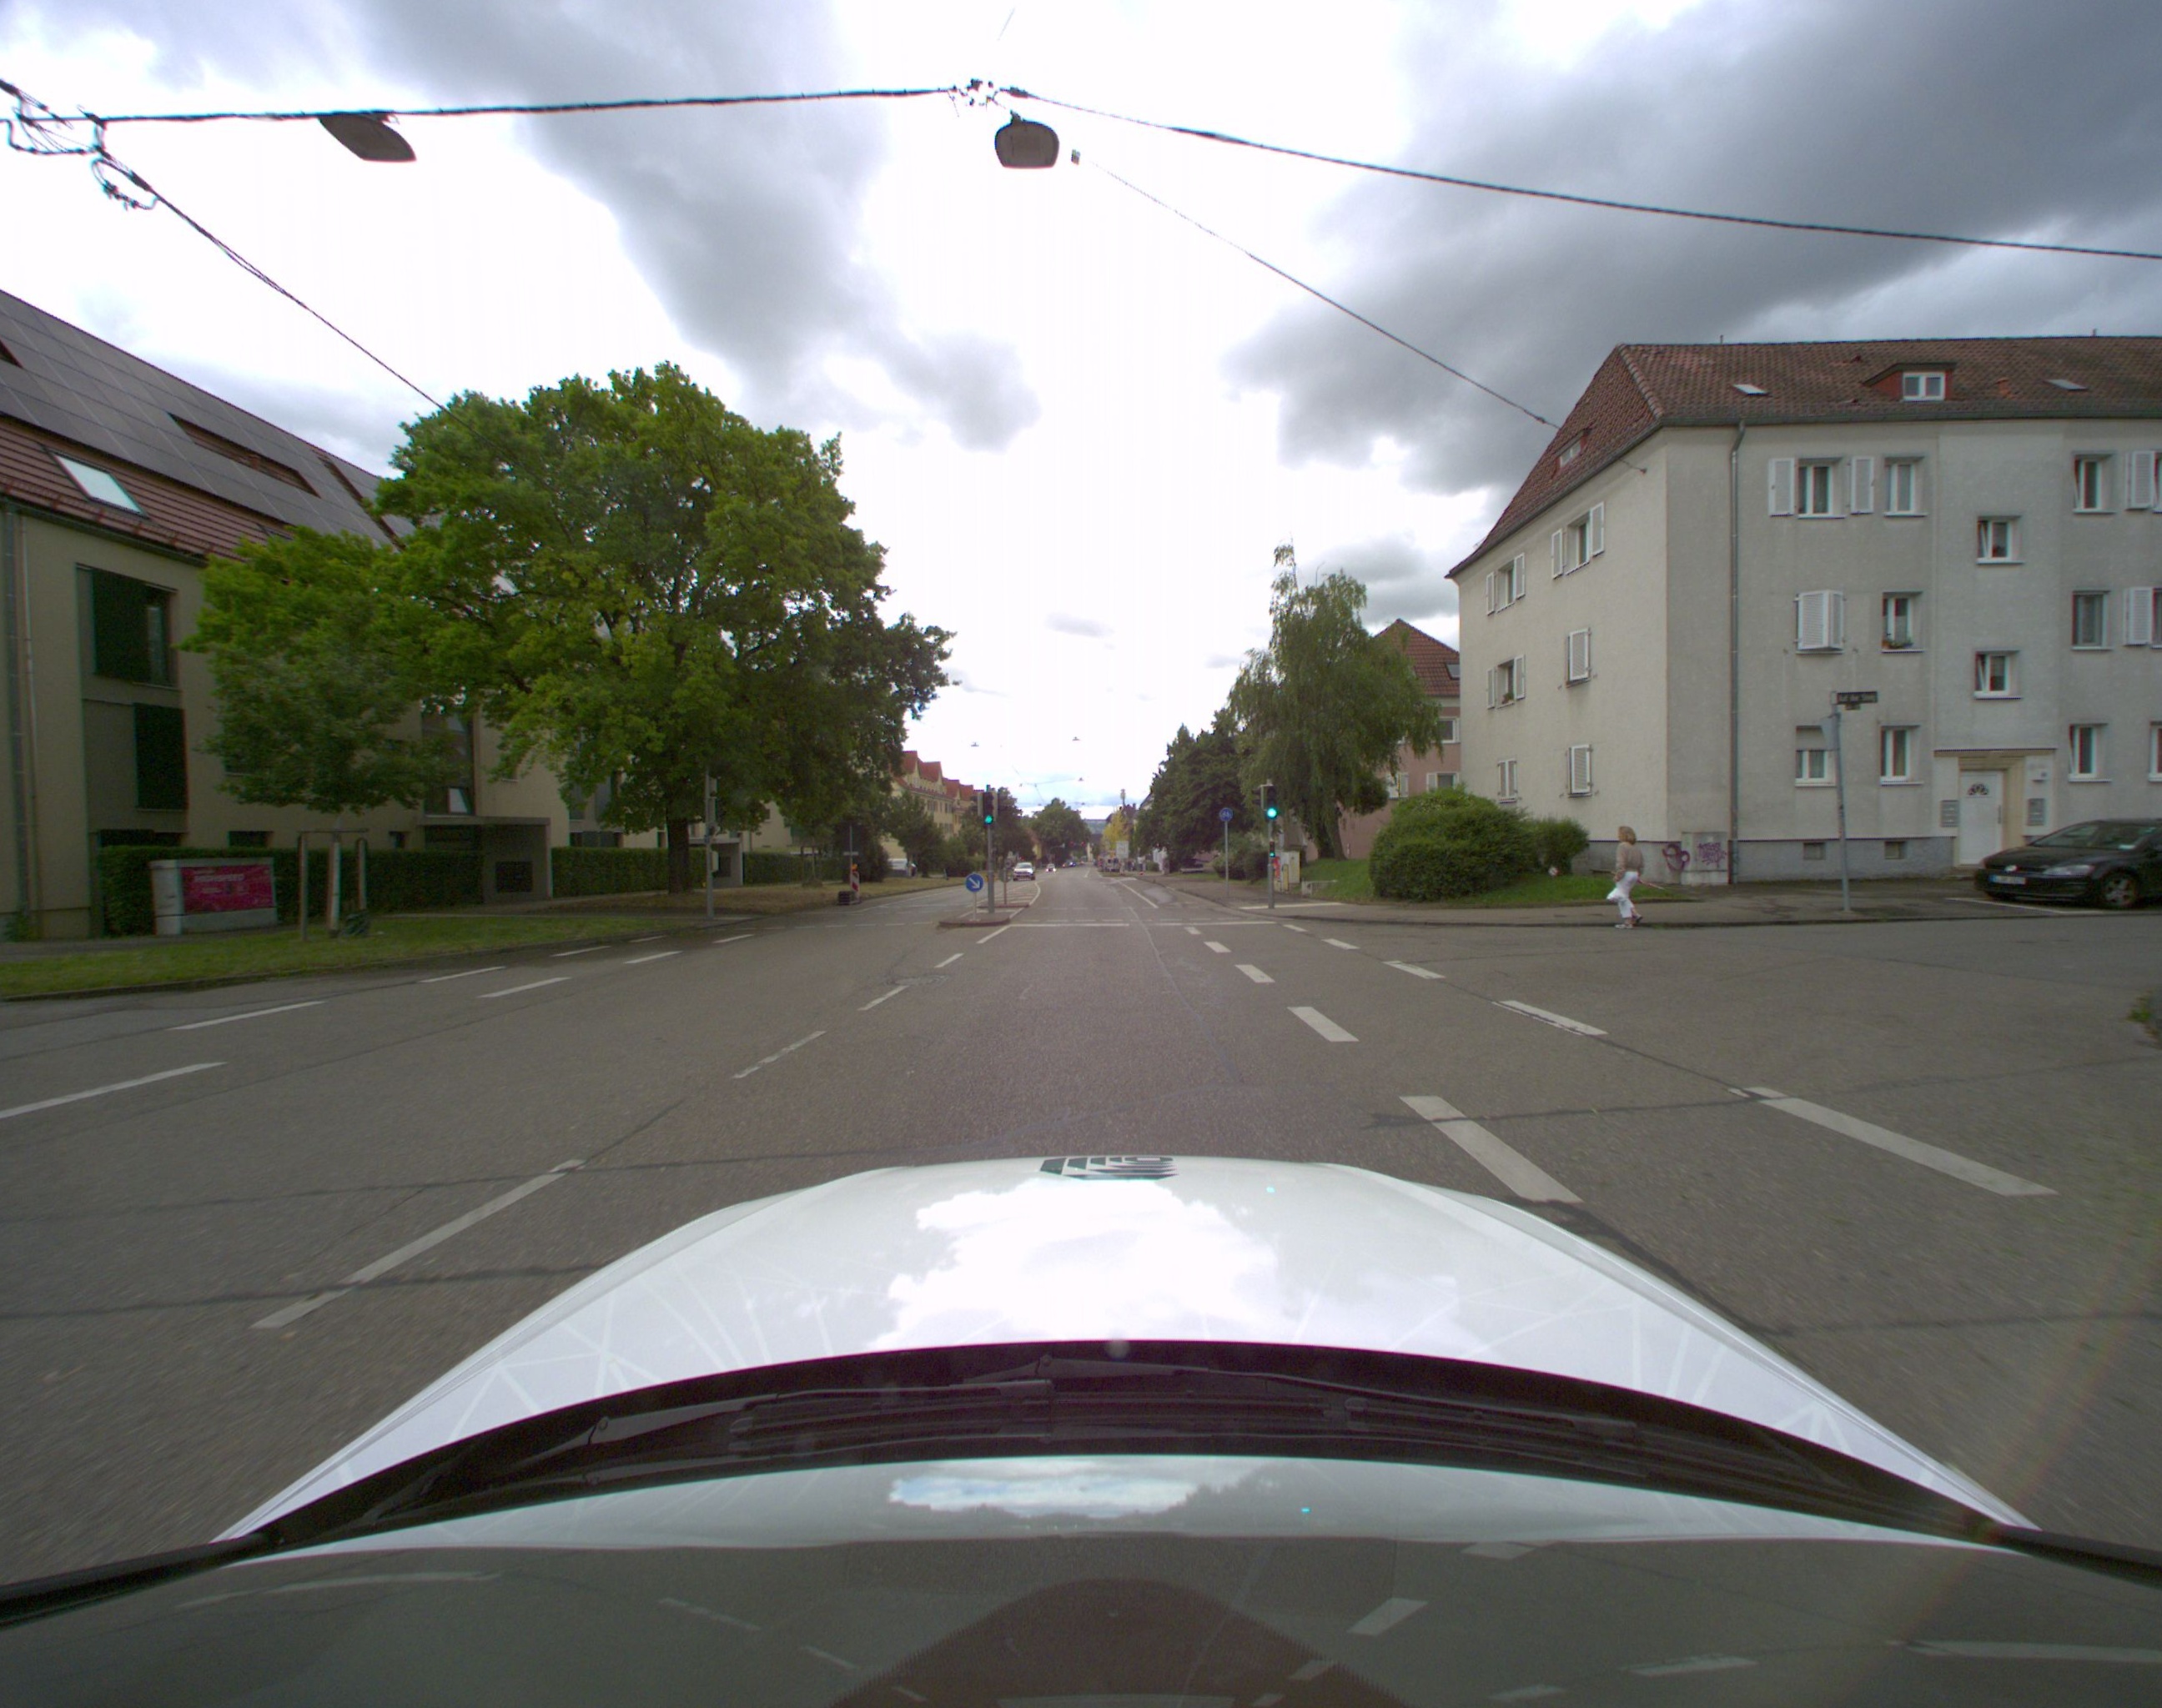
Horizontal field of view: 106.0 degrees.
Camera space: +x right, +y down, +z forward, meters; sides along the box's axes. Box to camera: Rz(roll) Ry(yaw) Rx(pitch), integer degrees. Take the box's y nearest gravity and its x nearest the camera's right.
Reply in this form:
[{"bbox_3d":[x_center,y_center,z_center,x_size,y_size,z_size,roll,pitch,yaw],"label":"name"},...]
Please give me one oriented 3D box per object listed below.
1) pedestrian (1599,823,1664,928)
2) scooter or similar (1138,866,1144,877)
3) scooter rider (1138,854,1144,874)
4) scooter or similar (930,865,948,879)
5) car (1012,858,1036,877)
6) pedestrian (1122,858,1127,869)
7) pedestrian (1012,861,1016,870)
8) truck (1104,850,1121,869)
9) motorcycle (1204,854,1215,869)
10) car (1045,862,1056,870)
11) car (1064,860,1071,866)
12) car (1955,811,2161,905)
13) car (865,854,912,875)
[{"bbox_3d":[9.200,0.339,13.627,0.654,1.685,0.575,-3,1,1],"label":"pedestrian"},{"bbox_3d":[6.118,1.782,82.937,0.489,1.163,2.074,0,-1,0],"label":"scooter or similar"},{"bbox_3d":[6.108,0.978,82.971,0.623,2.014,0.757,0,-1,0],"label":"scooter rider"},{"bbox_3d":[-11.402,1.473,65.344,1.367,1.086,0.466,-1,-1,-4],"label":"scooter or similar"},{"bbox_3d":[-4.885,1.129,70.042,1.796,1.464,4.028,-2,0,0],"label":"car"},{"bbox_3d":[6.461,1.437,121.773,0.577,1.644,0.559,-1,-2,-14],"label":"pedestrian"},{"bbox_3d":[-11.945,2.063,145.139,0.595,1.727,0.862,0,-1,3],"label":"pedestrian"},{"bbox_3d":[4.361,0.825,114.071,2.046,2.565,5.688,0,-1,0],"label":"truck"},{"bbox_3d":[13.505,0.786,85.670,0.728,1.569,2.551,0,-1,1],"label":"motorcycle"},{"bbox_3d":[-6.106,2.411,162.116,1.892,1.620,4.362,0,-1,1],"label":"car"},{"bbox_3d":[-3.675,2.469,222.988,1.748,1.472,4.311,-2,-1,4],"label":"car"},{"bbox_3d":[17.869,0.021,13.972,3.860,1.454,1.725,0,4,0],"label":"car"},{"bbox_3d":[-21.449,1.181,90.675,4.701,2.253,1.995,-1,-1,0],"label":"car"}]
